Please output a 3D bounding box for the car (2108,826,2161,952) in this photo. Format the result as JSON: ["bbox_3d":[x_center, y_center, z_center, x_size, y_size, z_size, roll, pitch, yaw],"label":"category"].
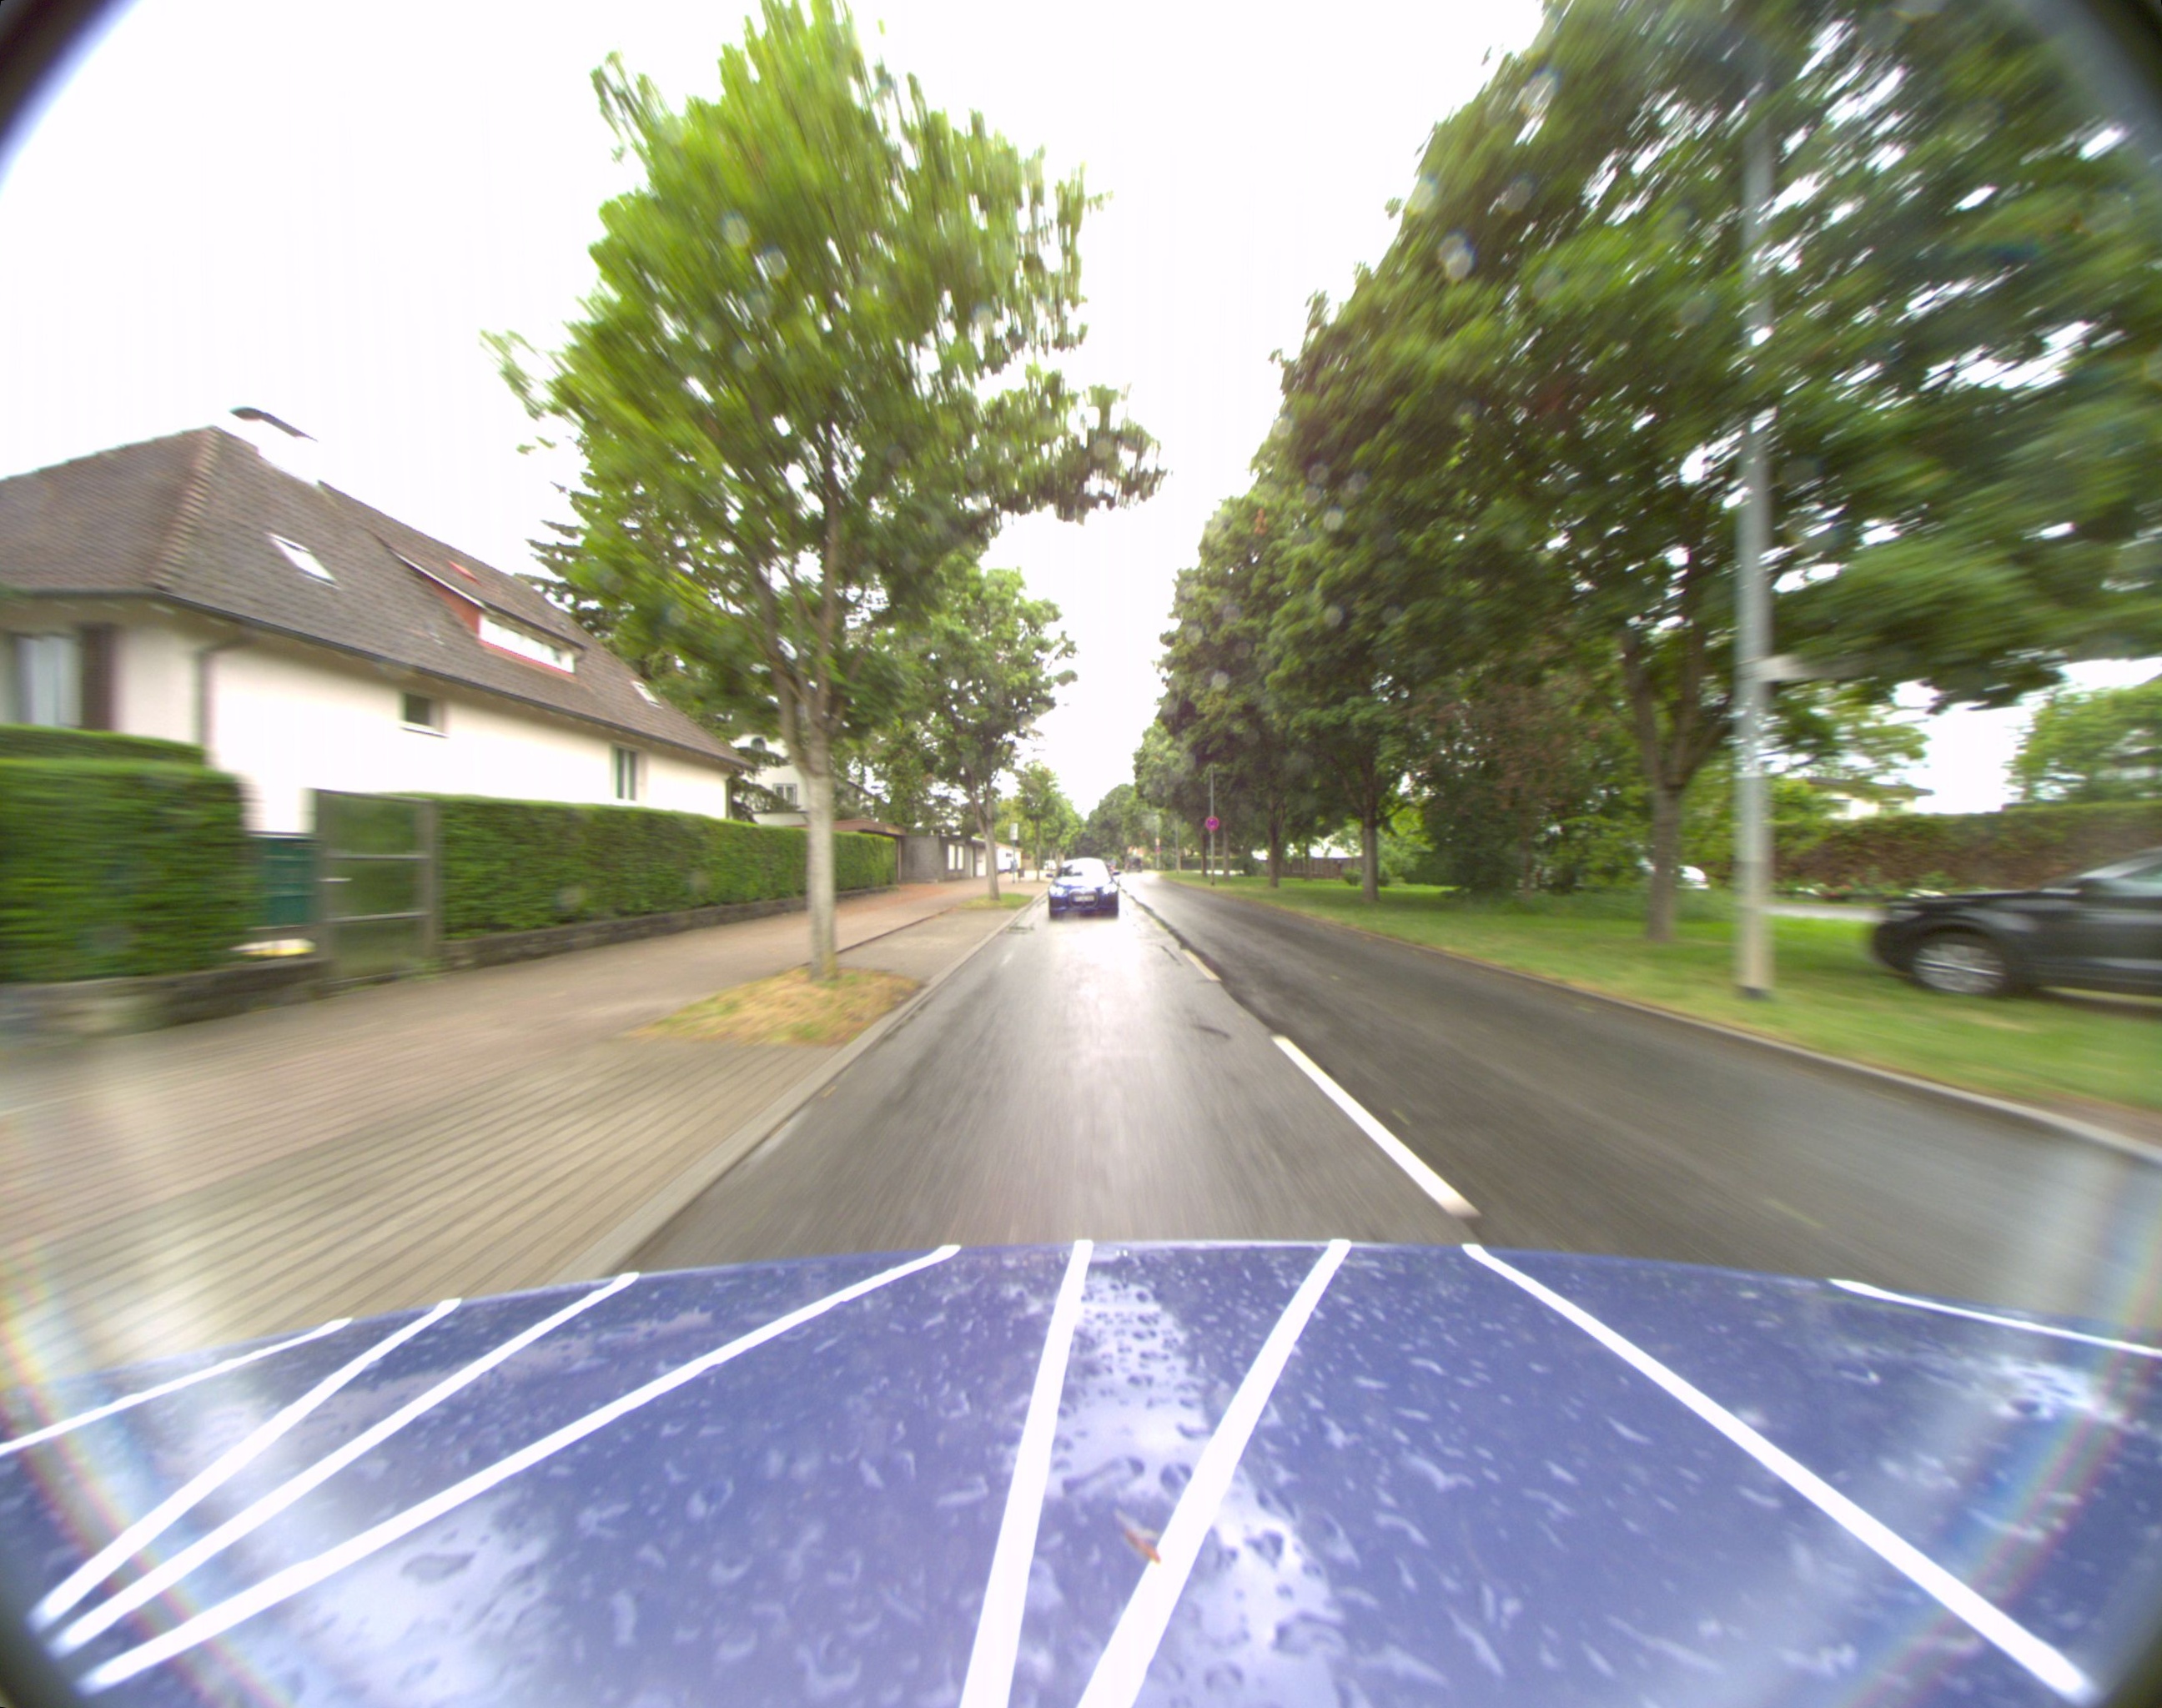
[{"bbox_3d":[16.719,0.559,9.072,1.911,1.760,4.889,0,2,-19],"label":"car"}]

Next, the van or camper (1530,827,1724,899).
[{"bbox_3d":[19.635,0.311,27.831,2.096,2.322,6.149,0,0,-8],"label":"van or camper"}]

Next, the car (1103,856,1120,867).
[{"bbox_3d":[4.507,1.162,113.464,1.715,1.588,4.168,-1,0,-9],"label":"car"}]

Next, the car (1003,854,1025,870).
[{"bbox_3d":[-6.502,0.775,73.804,1.666,1.413,4.000,-2,0,1],"label":"car"}]

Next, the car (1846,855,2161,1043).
[{"bbox_3d":[9.716,0.790,6.366,1.897,1.505,4.240,1,0,-24],"label":"car"}]

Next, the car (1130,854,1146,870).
[{"bbox_3d":[6.568,0.879,87.939,1.780,1.763,4.287,-1,0,5],"label":"car"}]

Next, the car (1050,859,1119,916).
[{"bbox_3d":[0.136,0.923,22.454,1.815,1.459,3.975,-1,0,1],"label":"car"}]

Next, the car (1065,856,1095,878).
[{"bbox_3d":[-0.057,0.877,52.431,1.929,1.374,4.307,-1,0,0],"label":"car"}]
